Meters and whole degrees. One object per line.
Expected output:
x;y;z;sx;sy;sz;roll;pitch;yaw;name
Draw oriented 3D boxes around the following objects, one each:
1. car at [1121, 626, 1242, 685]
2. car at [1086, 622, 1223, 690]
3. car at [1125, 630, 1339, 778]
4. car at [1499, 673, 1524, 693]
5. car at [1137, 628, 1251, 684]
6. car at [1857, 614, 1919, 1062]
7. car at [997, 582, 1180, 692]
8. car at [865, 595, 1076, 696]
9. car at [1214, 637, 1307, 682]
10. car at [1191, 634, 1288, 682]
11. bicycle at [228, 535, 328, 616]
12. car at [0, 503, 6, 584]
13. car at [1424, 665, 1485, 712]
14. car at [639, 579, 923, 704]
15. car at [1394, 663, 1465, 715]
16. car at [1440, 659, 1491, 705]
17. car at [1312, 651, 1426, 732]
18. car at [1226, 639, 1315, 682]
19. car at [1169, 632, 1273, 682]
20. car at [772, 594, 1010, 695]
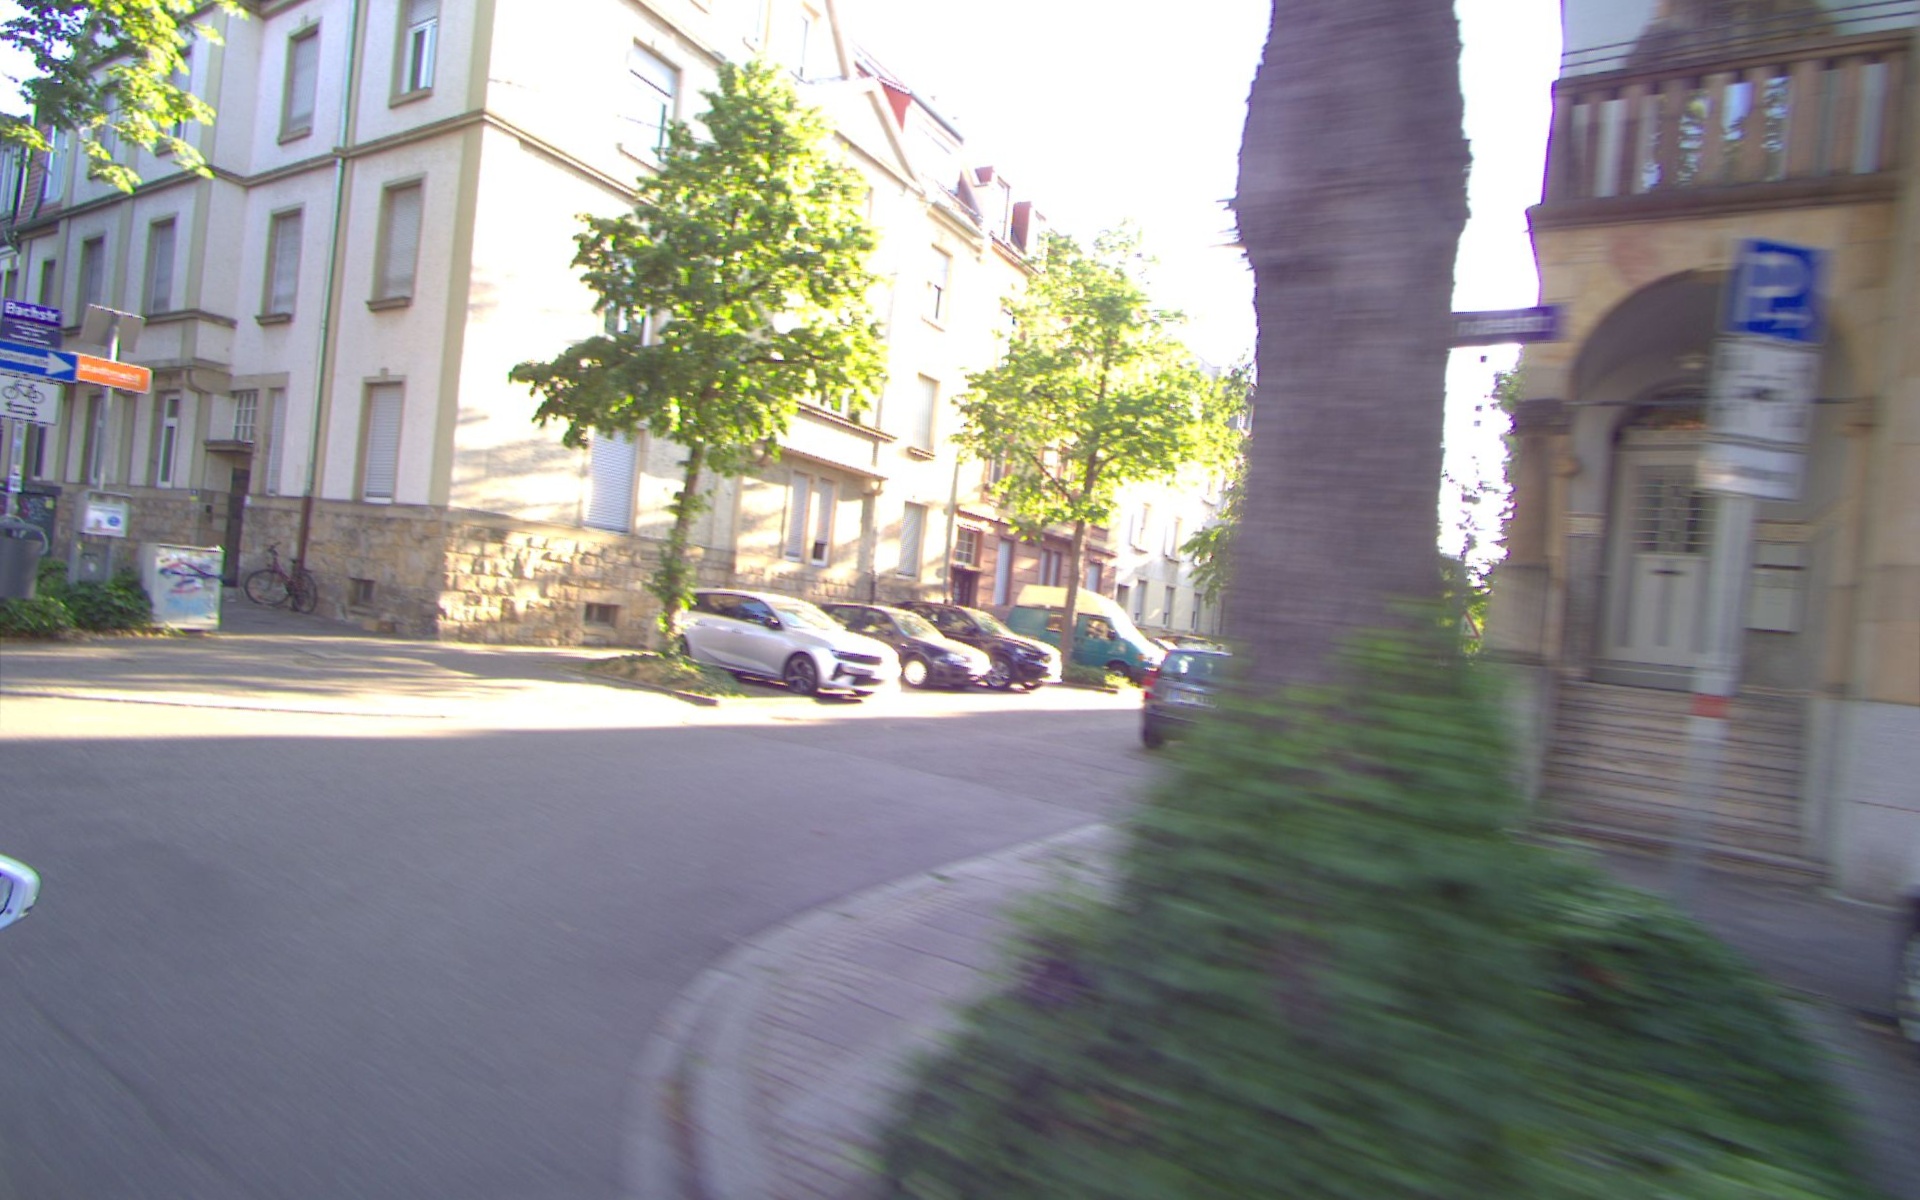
7.956;1.993;36.194;3.787;1.616;1.667;7;0;32;car
6.162;1.758;31.957;3.787;1.616;1.667;7;0;32;car
3.866;1.348;13.760;1.628;1.494;4.162;8;0;30;car
50.351;7.581;91.877;1.728;1.494;4.162;7;0;30;car
8.944;2.133;38.573;3.787;1.616;1.667;7;0;32;car
4.173;0.982;2.480;1.967;1.830;4.317;6;1;31;car
3.517;0.991;27.862;4.447;2.450;1.873;7;1;33;car
0.192;0.965;22.019;4.215;1.628;1.725;7;0;32;car
14.045;2.782;47.021;3.727;1.616;1.667;7;0;32;car
12.543;2.600;45.143;3.727;1.616;1.667;7;0;32;car
-12.106;-0.436;17.842;1.924;1.227;0.585;6;0;29;bicycle
-18.830;-1.178;16.809;1.718;1.456;3.800;6;0;27;car
19.431;3.448;39.435;1.728;1.494;4.162;7;0;30;car
-2.974;0.634;16.384;4.394;1.426;1.785;7;0;32;car
16.380;3.062;34.983;1.728;1.494;4.162;7;0;30;car
24.074;3.872;47.872;1.728;1.862;4.162;7;0;30;car
9.546;2.077;23.308;1.728;1.494;4.162;7;0;30;car
15.236;2.966;49.430;3.727;1.616;1.667;7;0;32;car
11.048;2.416;42.598;3.787;1.616;1.667;7;0;32;car
-1.438;0.862;20.275;4.454;1.426;1.846;7;0;32;car
